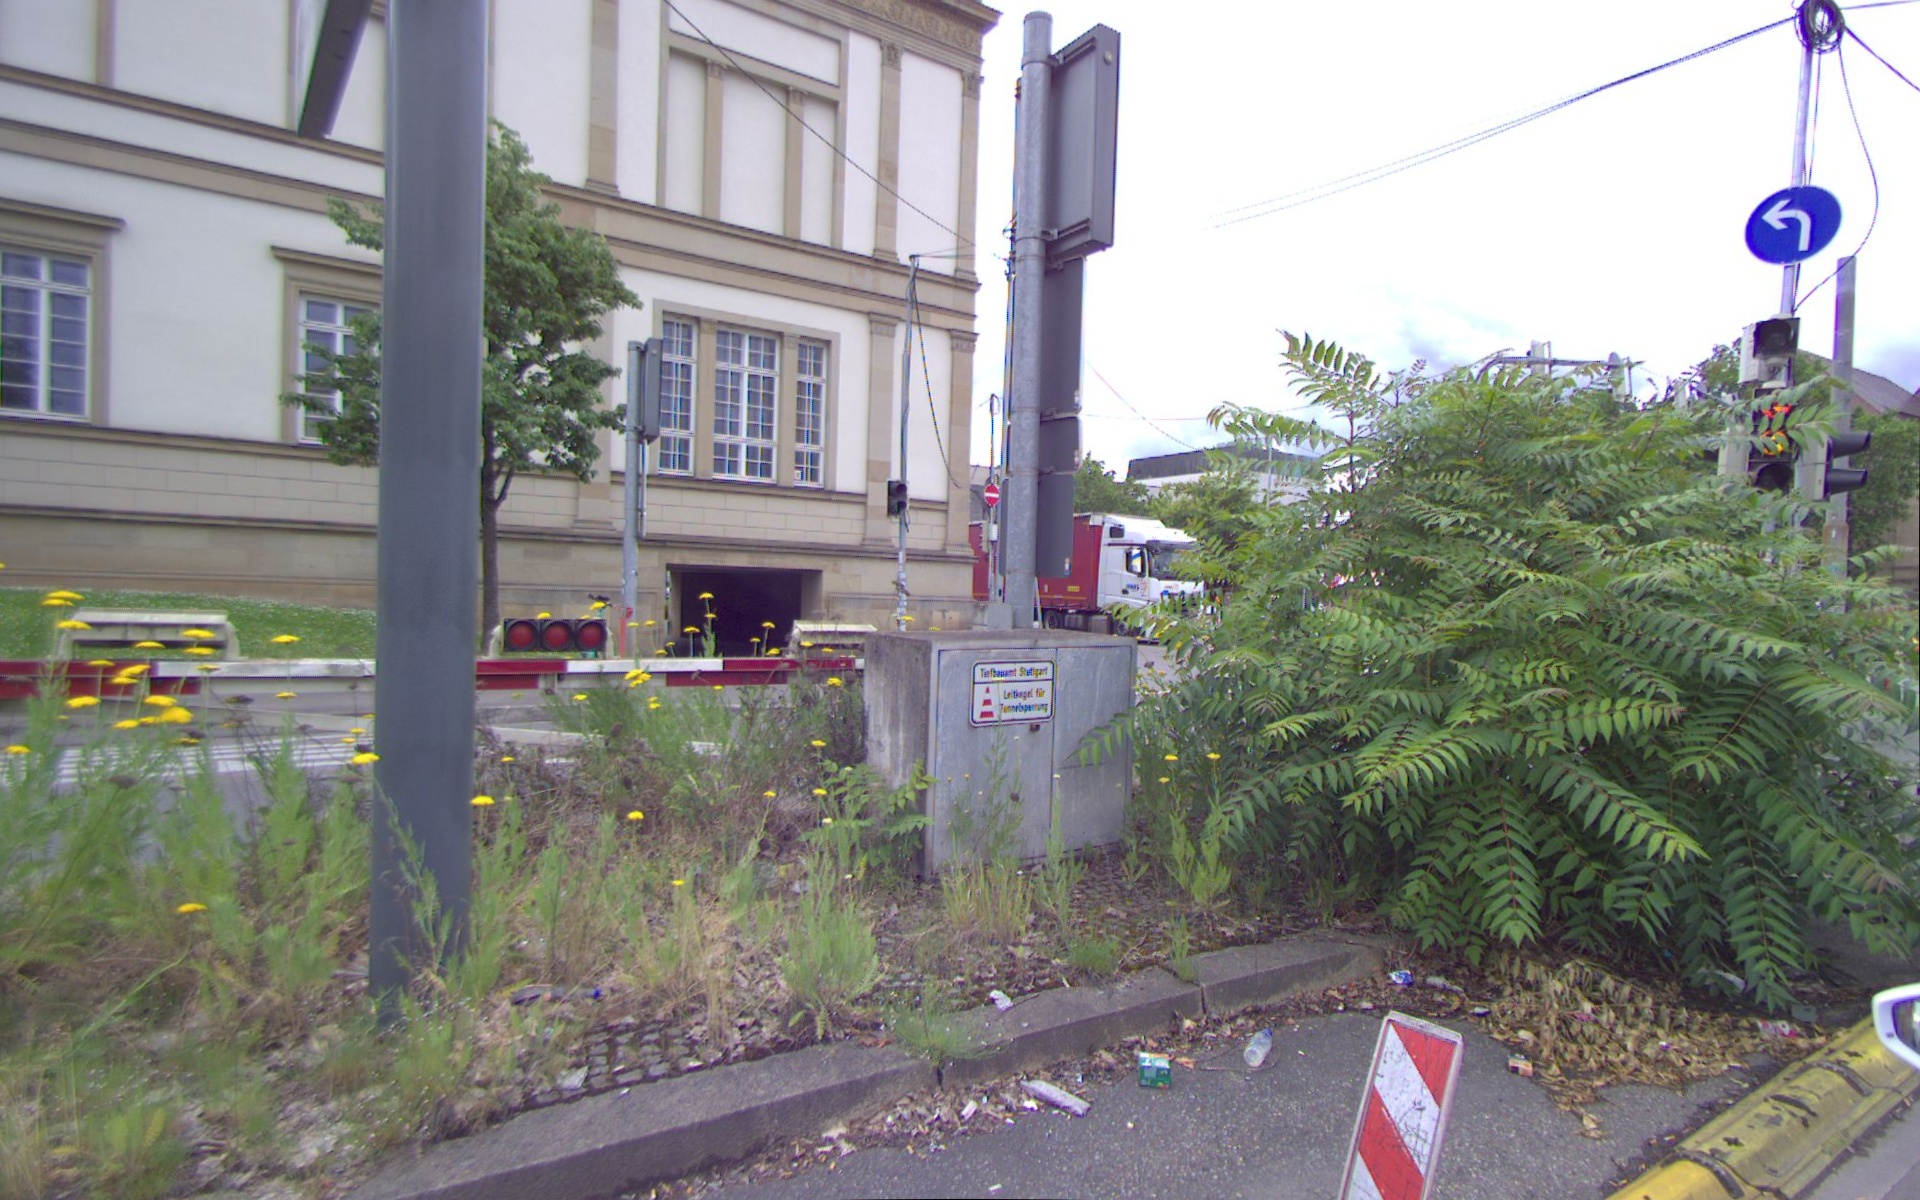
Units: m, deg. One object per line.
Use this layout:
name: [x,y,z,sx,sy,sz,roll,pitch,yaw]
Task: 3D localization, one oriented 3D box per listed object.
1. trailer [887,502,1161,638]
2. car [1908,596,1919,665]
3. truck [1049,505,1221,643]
trailer: [1.783,-1.005,38.724,2.916,4.338,13.662,2,0,-33]
car: [46.713,1.476,44.539,6.663,3.093,2.359,2,0,43]
truck: [5.609,-0.764,32.795,2.915,4.118,4.846,2,0,-34]
